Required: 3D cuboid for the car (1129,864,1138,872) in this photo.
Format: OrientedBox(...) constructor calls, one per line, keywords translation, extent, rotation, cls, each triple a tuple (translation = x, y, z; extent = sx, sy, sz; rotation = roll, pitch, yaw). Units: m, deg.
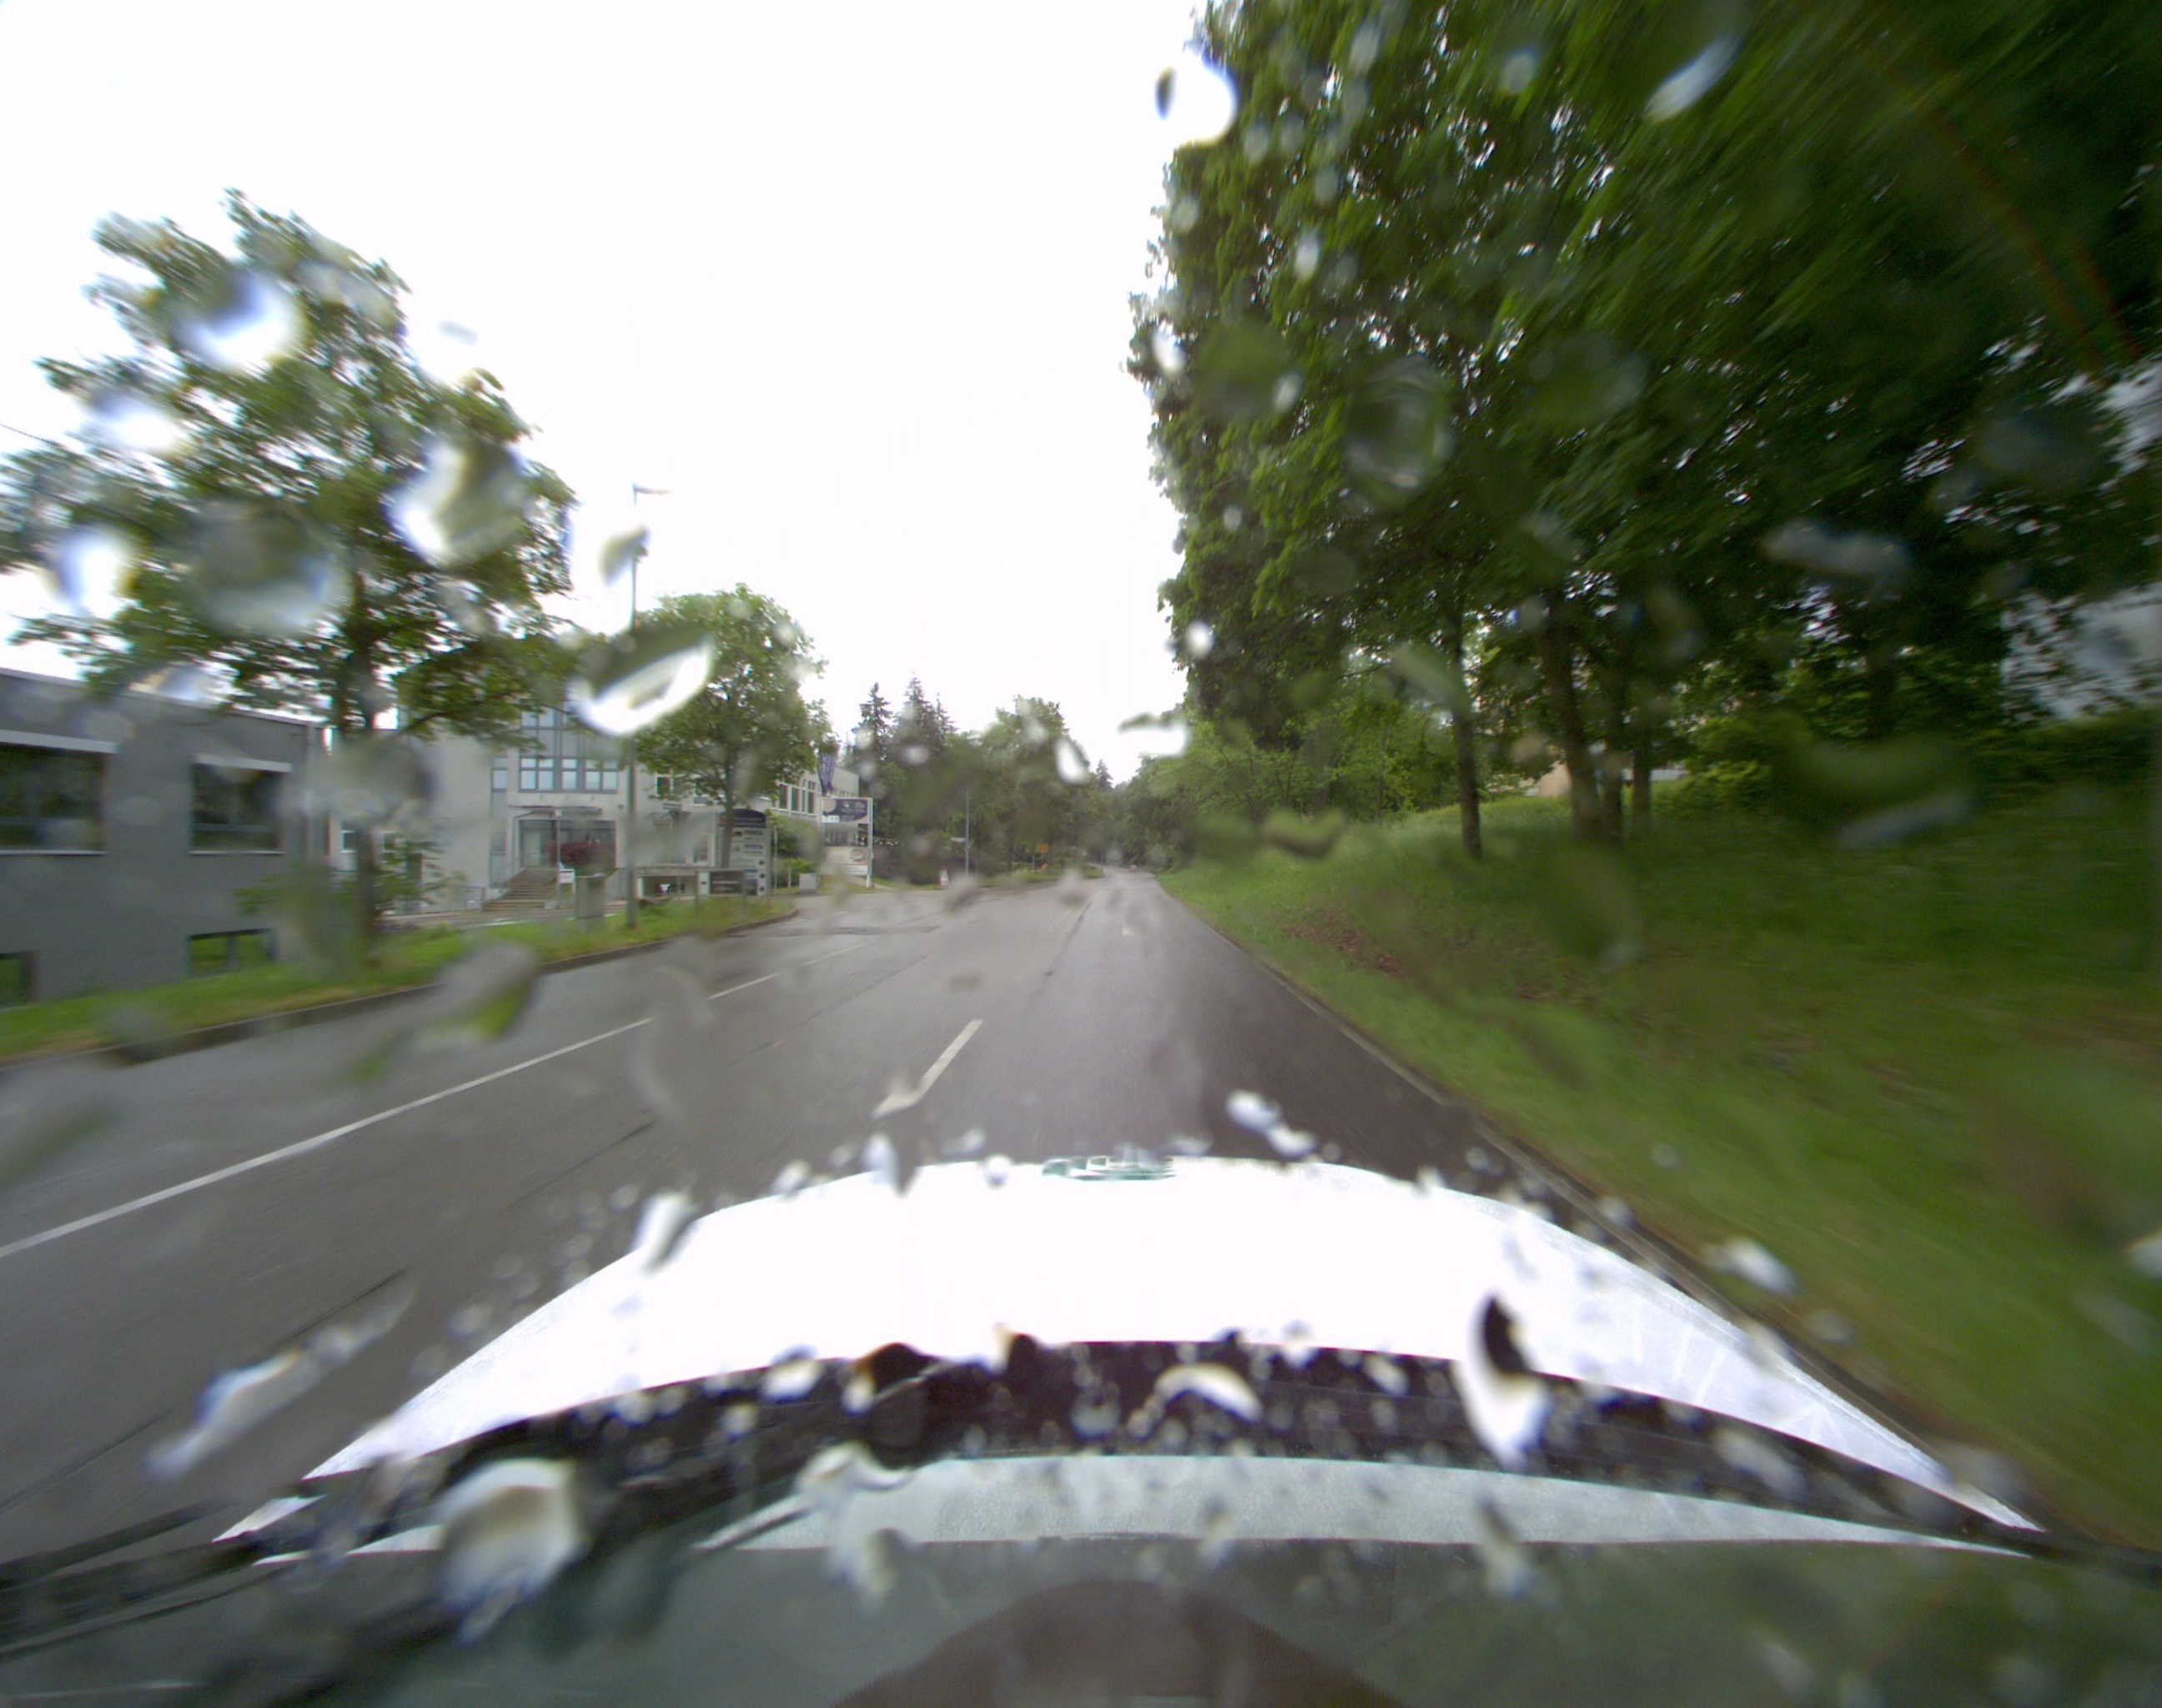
OrientedBox(translation=(10.905, 2.966, 168.154), extent=(1.730, 1.510, 4.003), rotation=(-2, 0, 2), cls="car")
